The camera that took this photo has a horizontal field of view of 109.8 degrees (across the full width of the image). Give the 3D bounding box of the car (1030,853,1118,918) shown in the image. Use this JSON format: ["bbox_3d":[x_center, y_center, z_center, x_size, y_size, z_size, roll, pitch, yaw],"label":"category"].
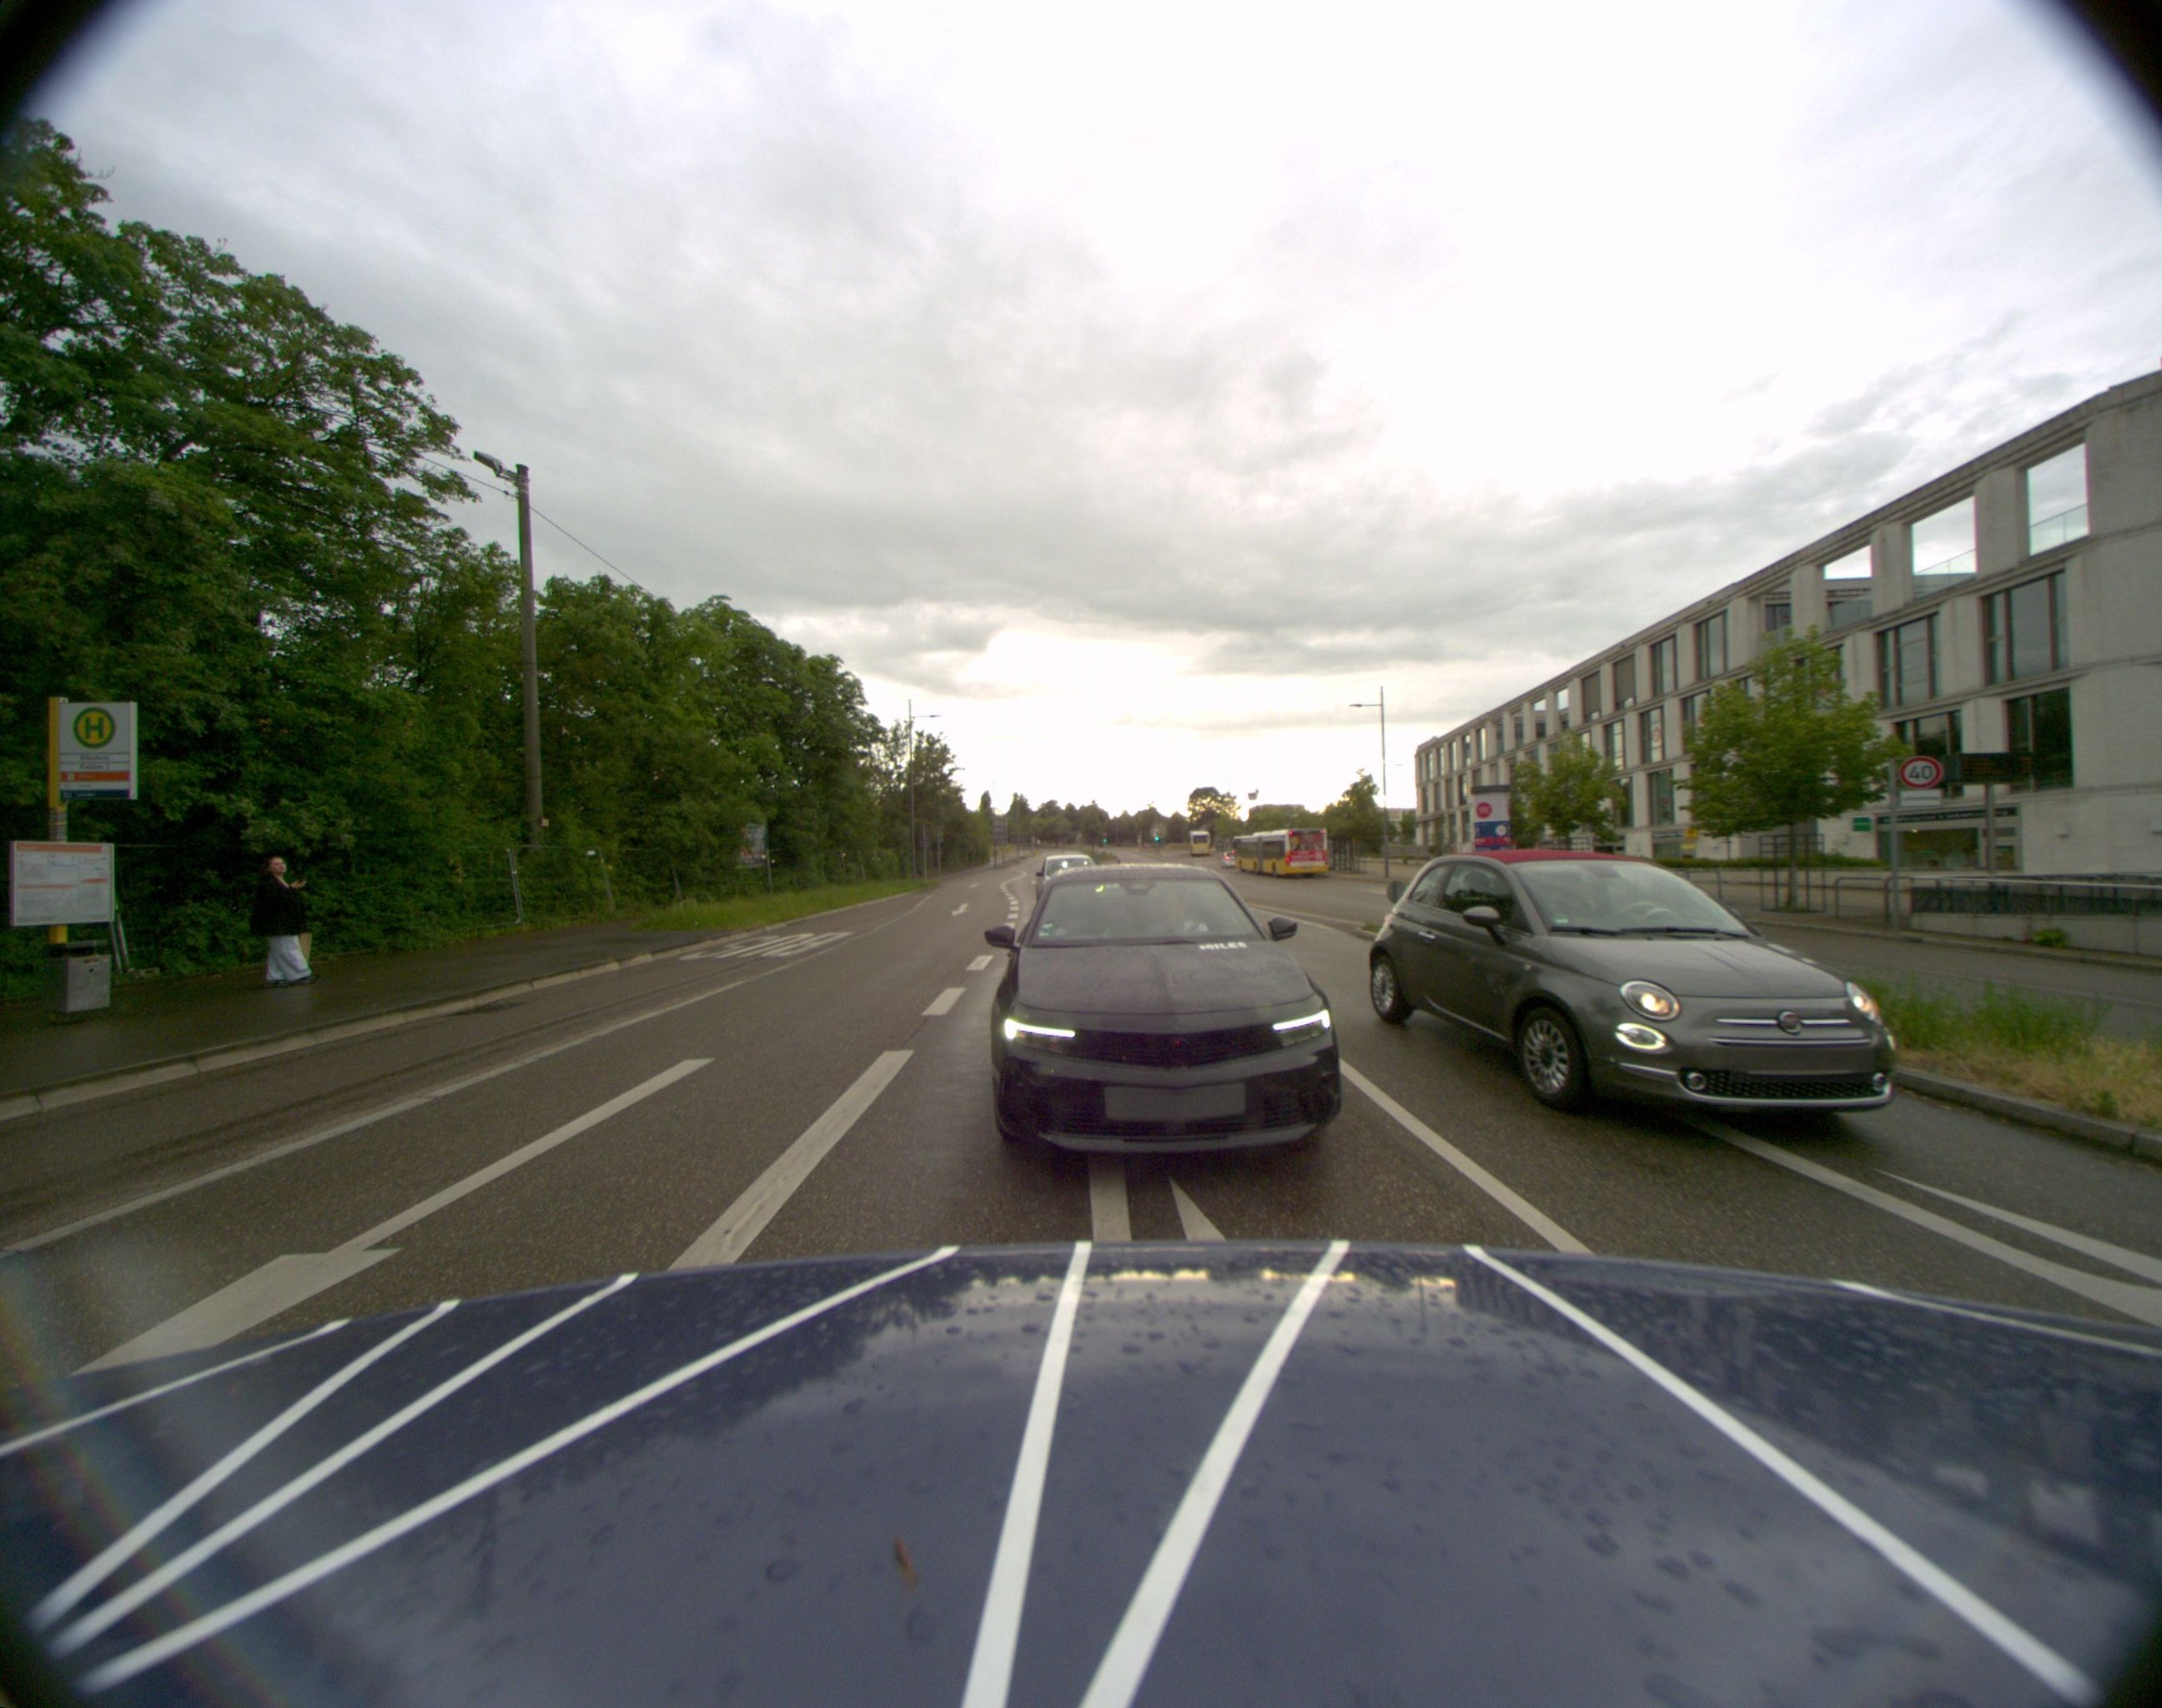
[{"bbox_3d":[-0.331,0.792,21.417,1.902,1.524,4.764,-2,1,-7],"label":"car"}]

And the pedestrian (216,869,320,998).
[{"bbox_3d":[-10.636,1.016,9.960,0.588,1.618,0.661,-1,1,1],"label":"pedestrian"}]

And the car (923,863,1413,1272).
[{"bbox_3d":[0.380,0.888,5.409,1.901,1.456,4.767,-2,1,1],"label":"car"}]

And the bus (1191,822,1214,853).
[{"bbox_3d":[18.400,-2.421,114.020,2.757,4.129,19.359,-2,1,11],"label":"bus"}]

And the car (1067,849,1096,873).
[{"bbox_3d":[0.013,0.446,55.077,1.934,1.649,4.617,-1,0,-2],"label":"car"}]

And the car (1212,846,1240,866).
[{"bbox_3d":[13.584,0.162,71.555,1.867,1.777,3.999,-2,1,1],"label":"car"}]

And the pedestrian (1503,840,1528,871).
[{"bbox_3d":[22.585,0.079,39.508,0.981,1.572,0.868,-1,1,38],"label":"pedestrian"}]

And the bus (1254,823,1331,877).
[{"bbox_3d":[13.825,-0.310,50.542,2.759,3.194,9.207,-2,1,2],"label":"bus"}]

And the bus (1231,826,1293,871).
[{"bbox_3d":[14.117,-0.449,60.047,2.693,3.163,9.912,-2,1,2],"label":"bus"}]

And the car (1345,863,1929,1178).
[{"bbox_3d":[3.401,0.852,5.549,1.631,1.473,3.505,-1,1,-2],"label":"car"}]
